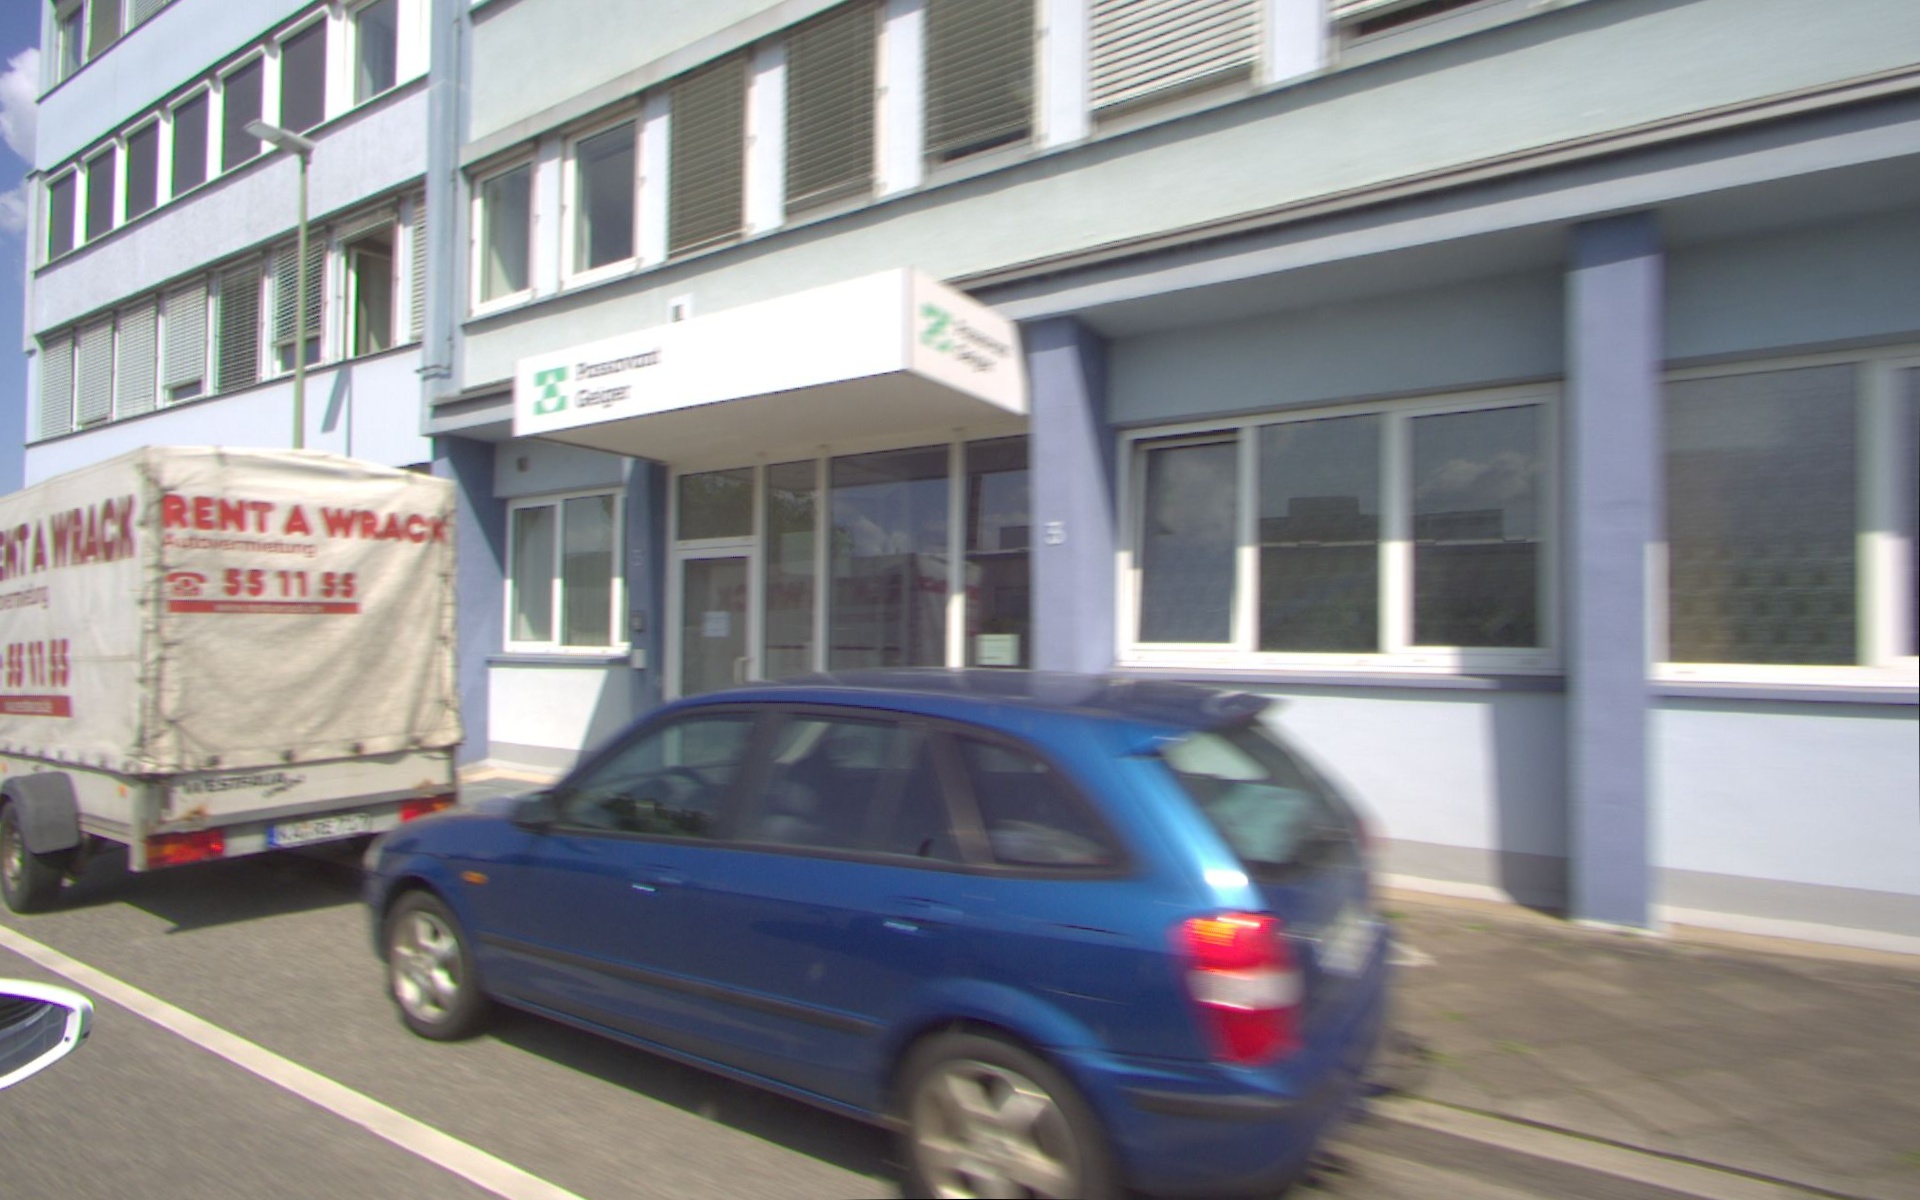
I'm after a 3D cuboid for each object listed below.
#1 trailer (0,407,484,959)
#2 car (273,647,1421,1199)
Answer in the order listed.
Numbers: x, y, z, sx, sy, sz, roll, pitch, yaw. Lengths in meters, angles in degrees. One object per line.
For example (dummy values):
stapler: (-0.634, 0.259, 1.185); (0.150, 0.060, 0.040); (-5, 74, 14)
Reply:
trailer: (-5.571, 0.458, 6.904); (5.003, 2.585, 1.865); (-1, -3, 35)
car: (-0.692, 0.980, 3.900); (4.341, 1.562, 1.715); (-1, -2, 33)
